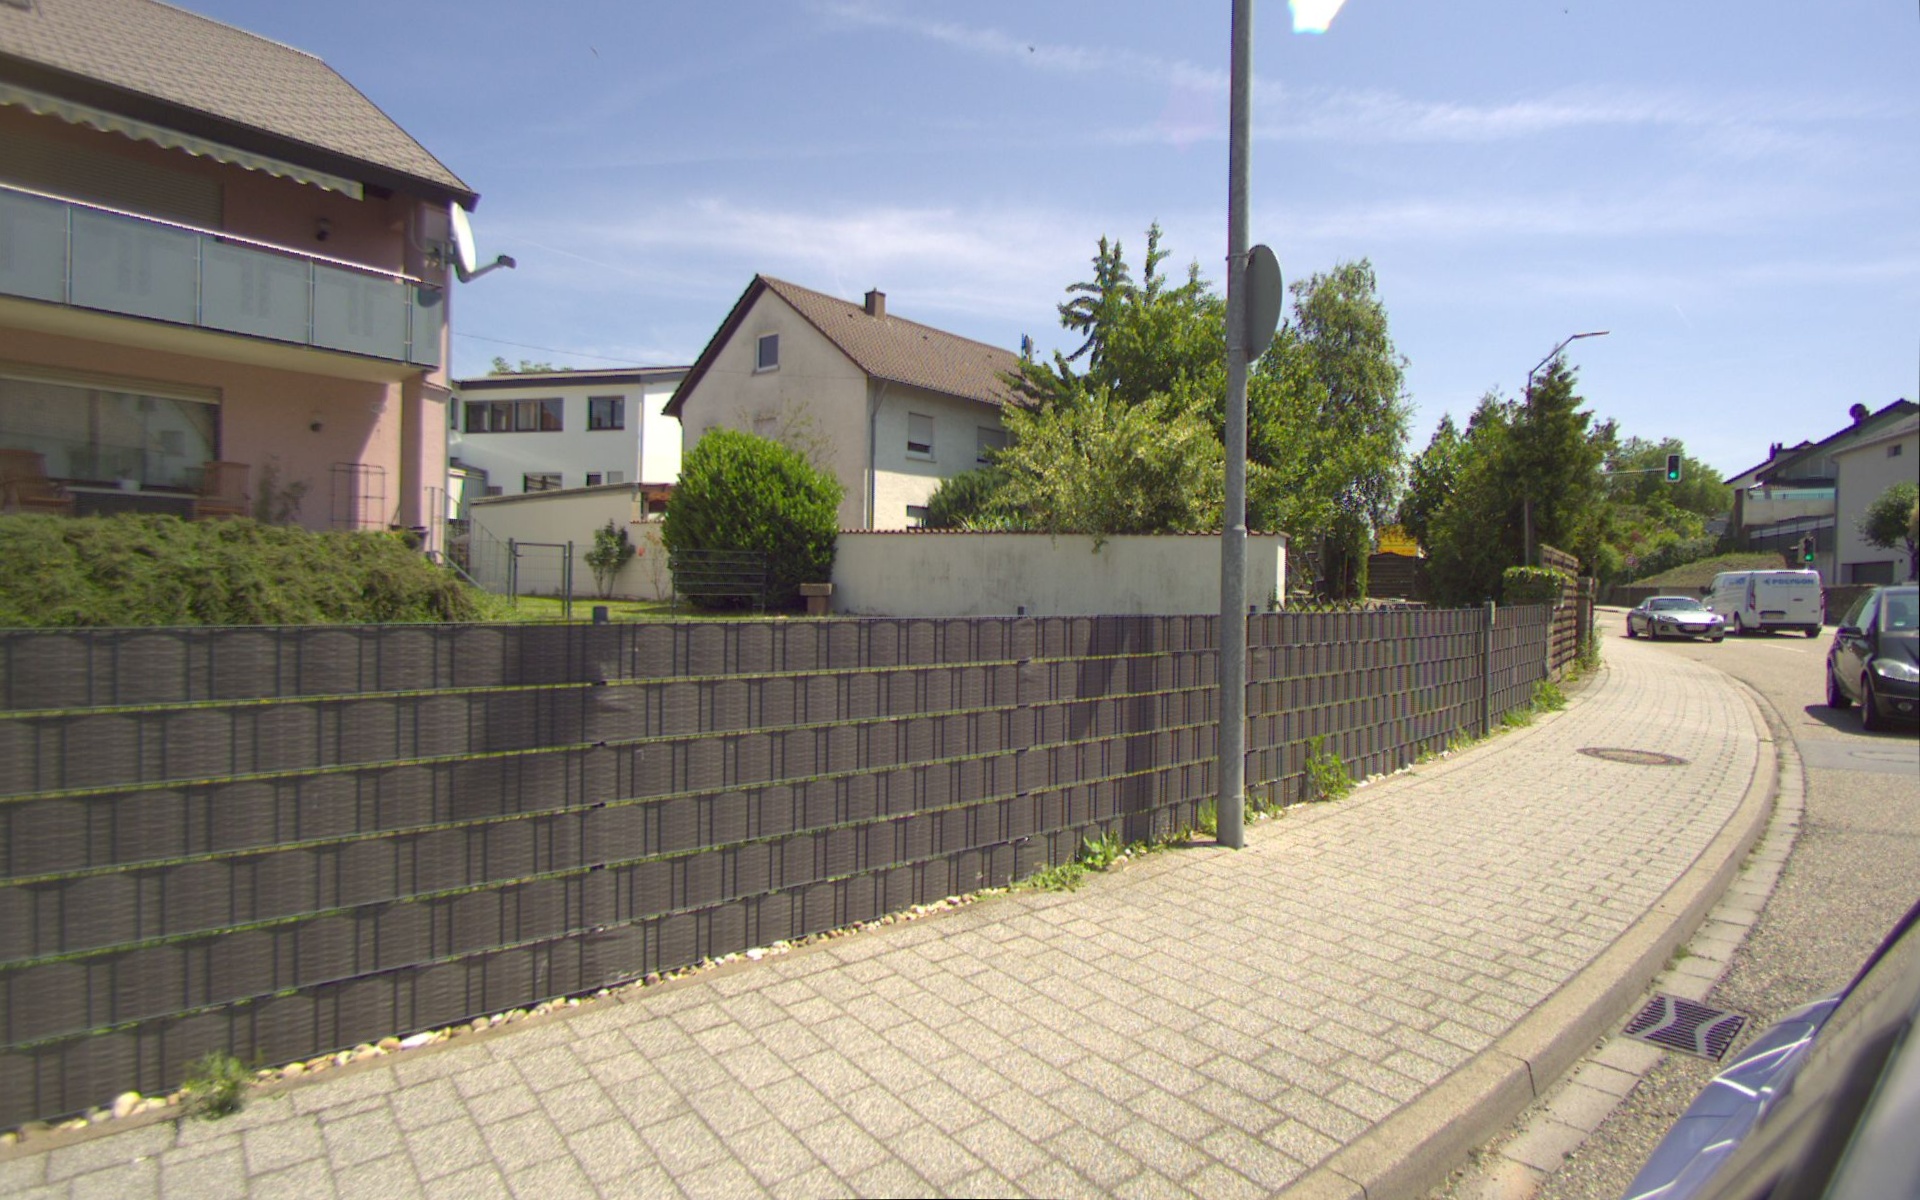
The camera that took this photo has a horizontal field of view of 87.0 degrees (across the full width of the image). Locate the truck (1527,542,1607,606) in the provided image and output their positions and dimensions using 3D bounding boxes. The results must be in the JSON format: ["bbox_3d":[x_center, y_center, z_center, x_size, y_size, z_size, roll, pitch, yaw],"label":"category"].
[{"bbox_3d":[35.483,-1.484,59.417,2.443,3.410,7.569,-2,0,19],"label":"truck"}]

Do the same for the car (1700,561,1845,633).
[{"bbox_3d":[24.934,-0.145,31.308,1.976,2.024,5.178,-1,1,21],"label":"car"}]

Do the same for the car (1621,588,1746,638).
[{"bbox_3d":[20.866,0.333,29.385,1.790,1.330,3.978,0,1,18],"label":"car"}]

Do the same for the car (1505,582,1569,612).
[{"bbox_3d":[27.622,-0.172,48.573,1.873,1.393,3.978,0,1,18],"label":"car"}]

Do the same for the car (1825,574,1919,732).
[{"bbox_3d":[11.460,0.507,11.699,1.754,1.612,4.147,0,1,34],"label":"car"}]
